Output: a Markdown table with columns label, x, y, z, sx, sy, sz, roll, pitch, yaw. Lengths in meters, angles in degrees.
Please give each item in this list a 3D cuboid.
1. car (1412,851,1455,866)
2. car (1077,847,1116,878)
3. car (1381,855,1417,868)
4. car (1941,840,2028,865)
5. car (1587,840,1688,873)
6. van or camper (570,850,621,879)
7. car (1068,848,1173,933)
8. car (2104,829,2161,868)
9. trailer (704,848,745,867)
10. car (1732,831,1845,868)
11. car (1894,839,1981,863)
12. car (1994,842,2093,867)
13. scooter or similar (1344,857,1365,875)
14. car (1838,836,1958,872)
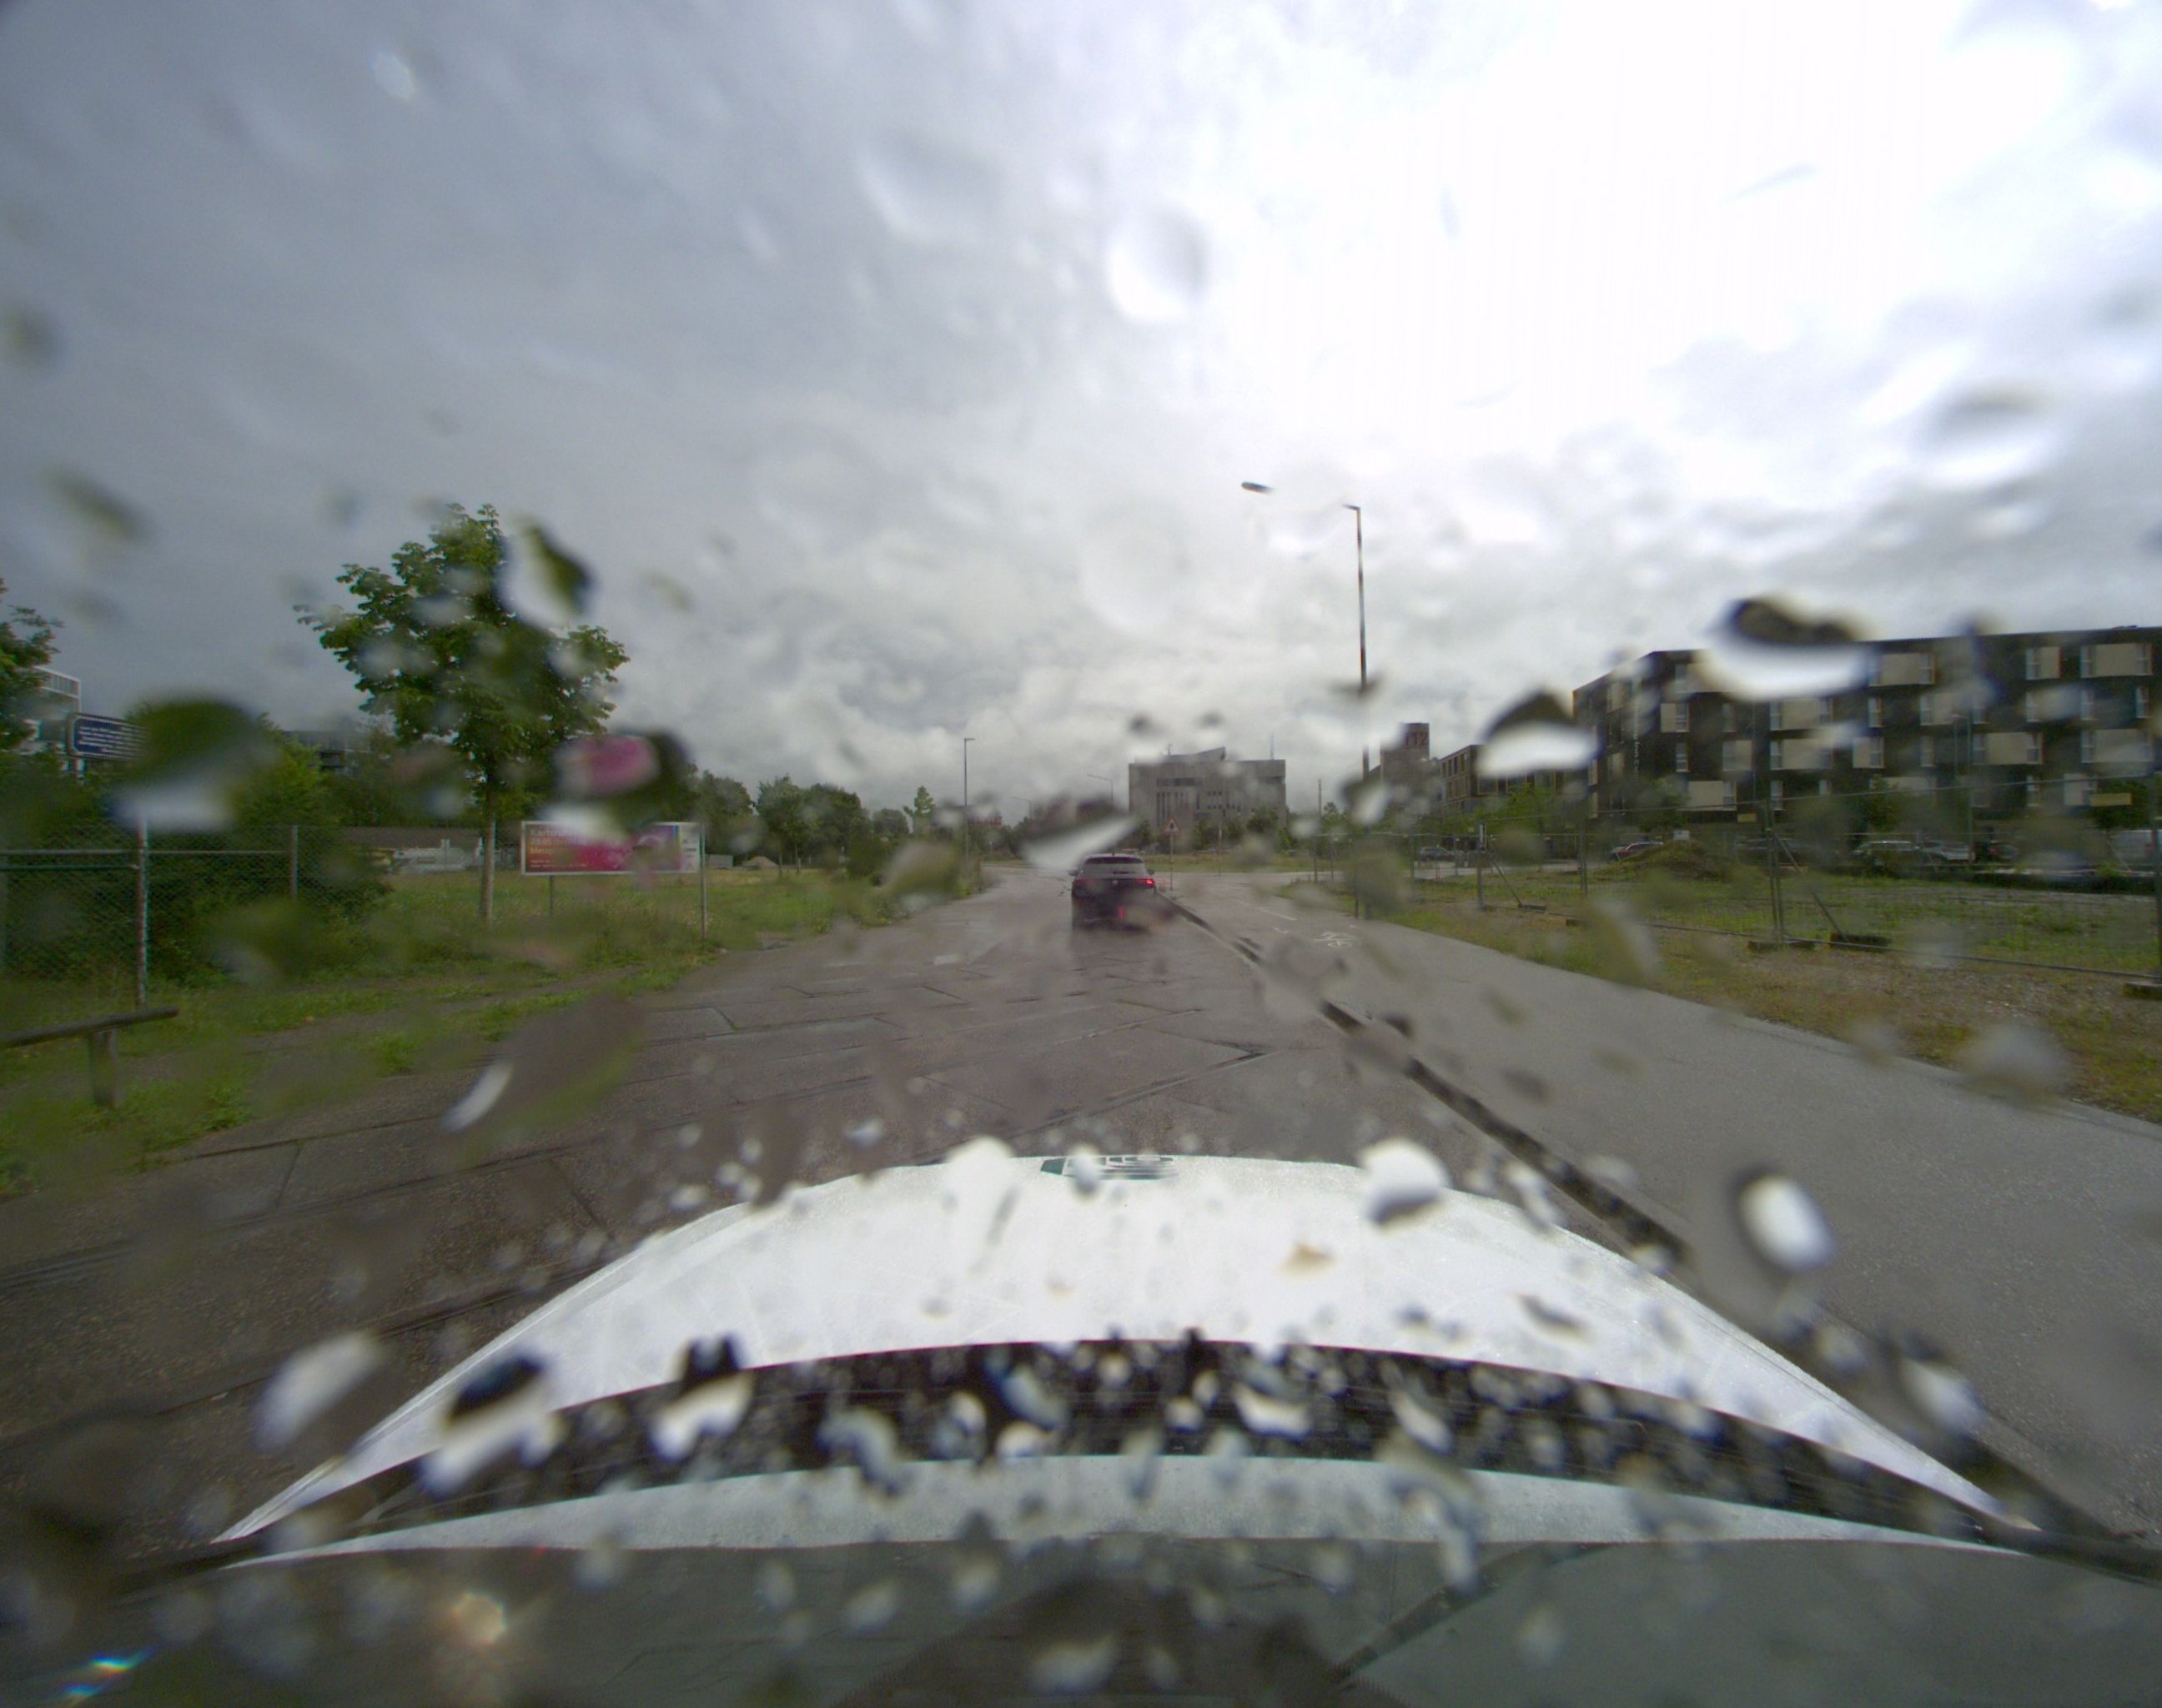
| label | x | y | z | sx | sy | sz | roll | pitch | yaw |
| --- | --- | --- | --- | --- | --- | --- | --- | --- | --- |
| car | 39.589 | 0.534 | 91.503 | 4.175 | 1.557 | 1.673 | -2 | -1 | 14 |
| car | 0.763 | 0.399 | 42.346 | 1.836 | 1.442 | 3.998 | -3 | 0 | -1 |
| car | 45.108 | 1.108 | 115.495 | 4.510 | 1.762 | 2.008 | -1 | 0 | 14 |
| car | 55.183 | -0.067 | 49.824 | 1.628 | 1.396 | 3.792 | 1 | -1 | 11 |
| car | 29.658 | 0.175 | 43.493 | 3.966 | 1.618 | 2.003 | -1 | -3 | 6 |
| van or camper | -52.095 | 1.098 | 87.501 | 4.527 | 2.946 | 2.461 | -1 | 0 | -28 |
| car | 0.763 | 0.714 | 18.156 | 1.981 | 1.520 | 3.999 | -4 | 1 | -1 |
| car | 53.593 | -0.181 | 39.720 | 4.296 | 1.772 | 2.006 | 4 | 1 | 11 |
| trailer | -41.040 | 0.449 | 93.841 | 4.126 | 2.089 | 1.826 | 1 | -1 | -31 |
| car | 36.705 | -0.232 | 42.351 | 3.966 | 1.728 | 2.004 | 2 | 0 | 6 |
| car | 52.804 | -0.184 | 50.296 | 1.752 | 1.395 | 3.818 | 2 | 1 | 10 |
| car | 57.859 | 0.019 | 49.050 | 1.769 | 1.395 | 3.853 | 2 | 1 | 10 |
| scooter or similar | 18.538 | 0.808 | 55.137 | 1.284 | 1.187 | 0.500 | -2 | 2 | -20 |
| car | 41.851 | -0.015 | 41.801 | 3.966 | 1.641 | 2.004 | 2 | 0 | 6 |
